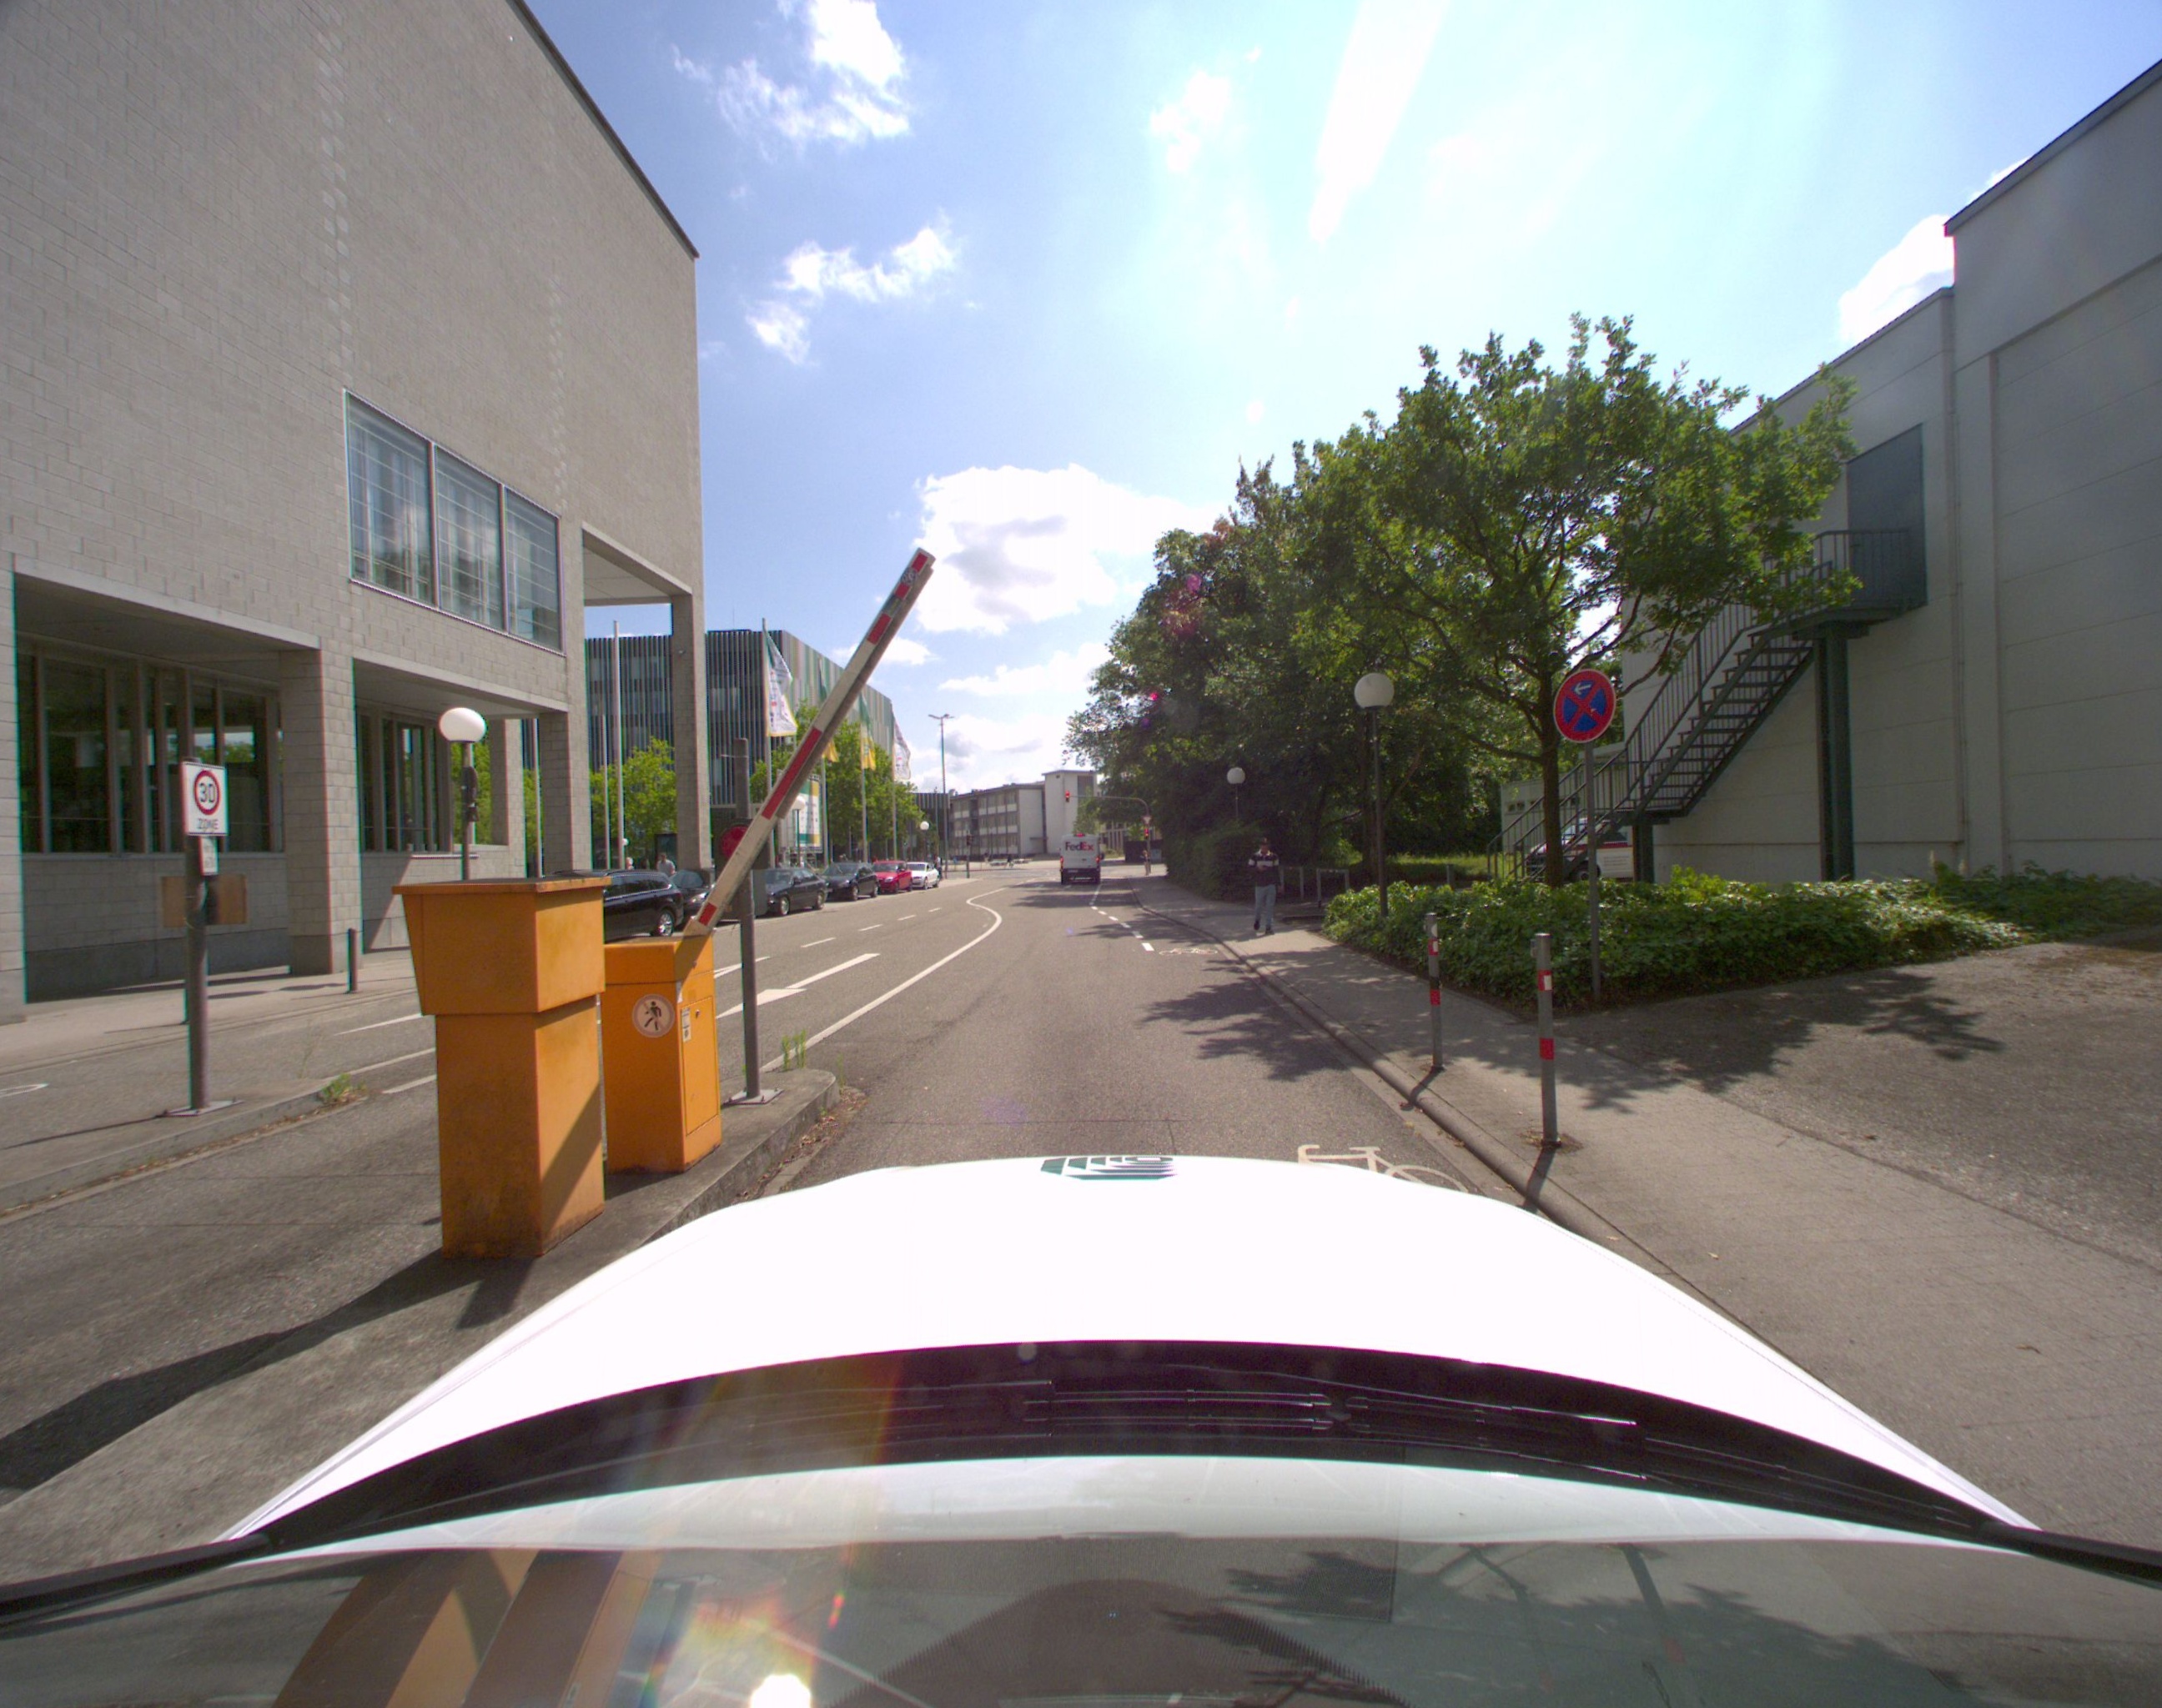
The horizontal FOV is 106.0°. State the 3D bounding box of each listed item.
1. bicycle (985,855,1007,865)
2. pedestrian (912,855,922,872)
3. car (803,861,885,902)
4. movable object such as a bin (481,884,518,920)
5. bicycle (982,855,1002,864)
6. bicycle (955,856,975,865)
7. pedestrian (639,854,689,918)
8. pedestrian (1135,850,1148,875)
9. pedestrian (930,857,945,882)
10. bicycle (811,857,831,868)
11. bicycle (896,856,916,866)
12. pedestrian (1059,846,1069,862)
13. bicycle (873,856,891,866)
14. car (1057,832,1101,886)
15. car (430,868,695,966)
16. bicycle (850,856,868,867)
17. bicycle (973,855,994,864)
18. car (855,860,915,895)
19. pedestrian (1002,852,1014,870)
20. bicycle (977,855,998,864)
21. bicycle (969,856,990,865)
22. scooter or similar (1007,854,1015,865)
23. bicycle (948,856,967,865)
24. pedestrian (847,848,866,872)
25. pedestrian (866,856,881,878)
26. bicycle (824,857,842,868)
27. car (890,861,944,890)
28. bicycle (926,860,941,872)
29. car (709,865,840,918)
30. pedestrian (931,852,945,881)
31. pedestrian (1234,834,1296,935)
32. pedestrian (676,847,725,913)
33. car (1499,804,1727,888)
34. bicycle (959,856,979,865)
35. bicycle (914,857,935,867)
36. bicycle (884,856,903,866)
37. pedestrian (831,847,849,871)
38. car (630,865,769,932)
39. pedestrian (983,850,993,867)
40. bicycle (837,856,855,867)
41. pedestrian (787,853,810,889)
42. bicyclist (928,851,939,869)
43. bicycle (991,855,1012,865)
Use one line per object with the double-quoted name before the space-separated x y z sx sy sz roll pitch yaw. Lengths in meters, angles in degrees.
"bicycle" -12.832 0.903 123.193 2.978 1.363 1.262 -1 0 -36
"pedestrian" -16.880 0.979 83.805 0.751 1.678 0.755 -2 0 -2
"car" -9.250 1.039 32.178 1.740 1.467 4.201 0 0 4
"movable object such as a bin" -15.823 1.303 22.164 0.573 0.930 0.596 -1 0 2
"bicycle" -13.567 0.887 124.229 2.978 1.363 1.105 -1 0 -36
"bicycle" -18.769 1.029 132.053 2.978 1.363 1.105 -1 0 -36
"pedestrian" -13.550 1.004 26.480 0.981 2.013 1.164 -2 0 -2
"pedestrian" 4.009 0.559 53.793 0.729 1.576 0.775 0 0 -3
"pedestrian" -9.781 1.063 55.617 0.839 1.651 0.747 -2 0 3
"bicycle" -30.430 1.006 95.294 1.383 1.237 2.920 -1 0 -34
"bicycle" -21.959 0.848 102.155 1.208 1.237 2.915 -1 0 -43
"pedestrian" -2.019 0.026 96.331 0.867 1.889 0.908 -1 0 -17
"bicycle" -24.479 0.887 100.169 1.206 1.237 2.920 -1 0 -34
"car" -0.025 0.230 43.027 2.087 2.566 5.604 -2 0 1
"car" -9.446 1.051 15.438 1.852 1.467 4.721 0 0 2
"bicycle" -26.671 0.889 97.862 1.206 1.237 2.919 -1 0 -35
"bicycle" -15.163 0.918 126.493 2.978 1.363 1.105 -1 0 -36
"car" -8.972 1.052 37.580 1.670 1.467 3.914 0 0 3
"pedestrian" -7.672 0.718 85.456 1.077 1.870 0.832 -2 0 0
"bicycle" -14.416 0.899 125.416 2.978 1.363 1.105 -1 0 -36
"bicycle" -15.890 0.961 127.567 2.978 1.363 1.105 -1 0 -36
"scooter or similar" -7.600 0.586 88.175 0.716 1.178 2.717 -2 0 -8
"bicycle" -20.487 1.053 135.123 2.978 1.363 1.105 -1 0 -36
"pedestrian" -17.423 0.434 63.246 0.853 1.819 1.102 -2 0 25
"pedestrian" -15.121 0.953 59.376 0.767 1.598 0.799 -2 0 4
"bicycle" -29.215 0.972 96.069 1.206 1.237 2.920 -1 0 -34
"car" -8.540 1.089 42.754 1.670 1.395 4.666 0 0 3
"bicycle" -15.546 1.253 85.983 0.765 1.122 2.033 -2 0 12
"car" -9.258 1.081 25.136 1.851 1.378 5.021 0 0 4
"pedestrian" -9.532 0.823 54.317 0.716 1.859 0.771 -2 0 3
"pedestrian" 3.211 0.514 14.305 0.737 1.674 1.256 -2 0 -1
"pedestrian" -11.965 0.801 25.633 0.981 2.013 1.164 -2 0 -2
"car" 14.340 -0.198 22.190 4.806 2.013 2.063 -2 0 2
"bicycle" -17.930 1.010 130.545 2.978 1.363 1.105 -1 0 -36
"bicycle" -19.989 1.078 104.006 1.208 1.237 2.915 -1 0 -43
"bicycle" -23.391 0.874 101.592 1.206 1.237 2.919 -1 0 -35
"pedestrian" -18.748 0.383 63.412 0.845 1.876 1.012 -2 0 25
"car" -9.472 1.039 20.551 1.632 1.467 3.708 0 0 2
"pedestrian" -10.564 0.517 92.720 0.698 1.855 1.403 -2 2 11
"bicycle" -28.002 0.936 97.099 1.206 1.237 2.920 -1 0 -34
"pedestrian" -14.752 0.883 42.595 0.716 1.851 1.090 0 0 6
"bicyclist" -15.569 0.622 85.894 0.784 1.817 1.003 -2 0 12
"bicycle" -11.837 0.882 121.901 2.978 1.363 1.105 -1 0 -36
